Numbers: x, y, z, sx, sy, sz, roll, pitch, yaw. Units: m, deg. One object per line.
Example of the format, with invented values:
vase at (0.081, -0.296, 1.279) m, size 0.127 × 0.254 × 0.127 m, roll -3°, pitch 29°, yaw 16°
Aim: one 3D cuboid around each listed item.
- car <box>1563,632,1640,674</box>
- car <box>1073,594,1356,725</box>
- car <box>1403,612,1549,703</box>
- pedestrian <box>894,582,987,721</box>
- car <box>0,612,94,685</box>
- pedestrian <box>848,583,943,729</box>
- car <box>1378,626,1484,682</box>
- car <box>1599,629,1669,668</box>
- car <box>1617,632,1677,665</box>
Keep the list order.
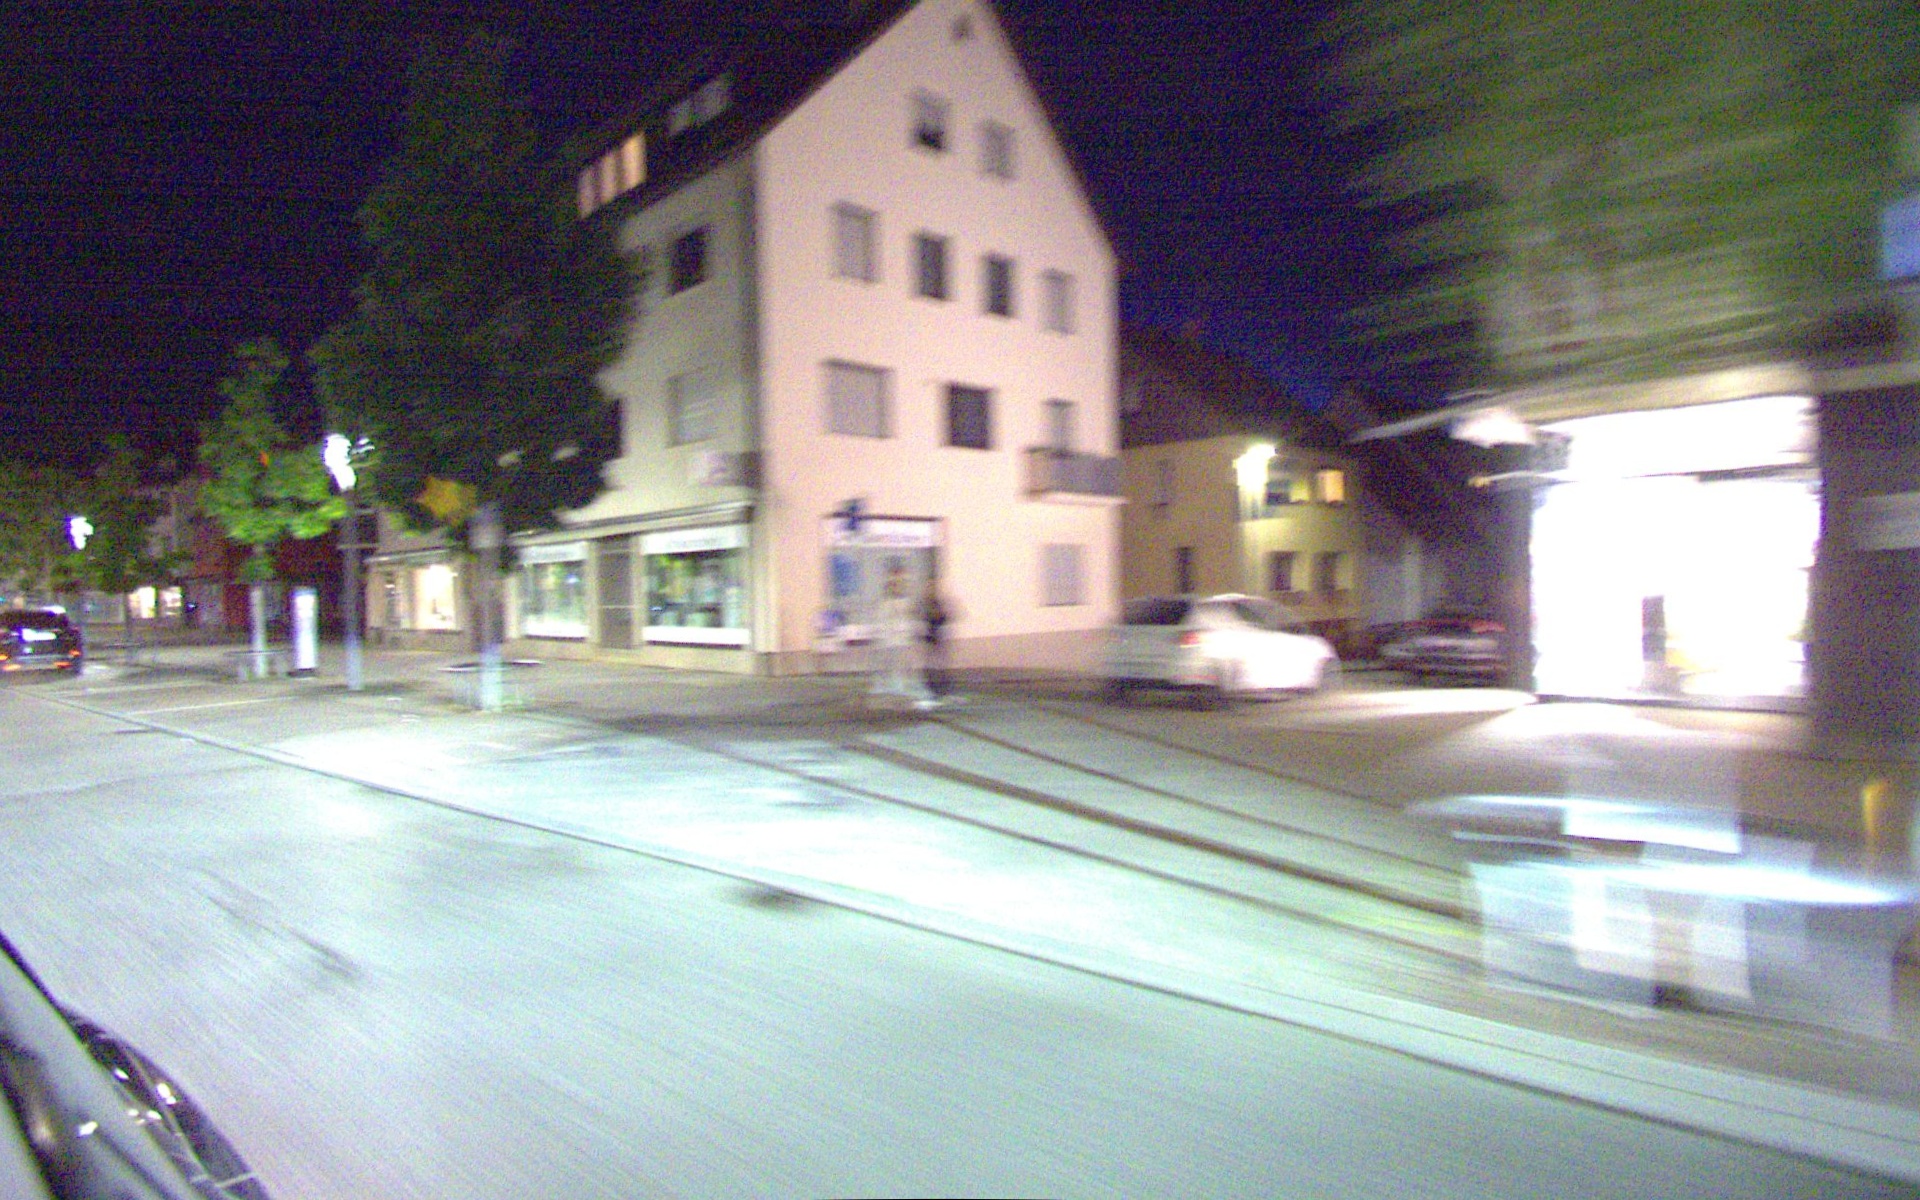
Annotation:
car at (25.586, 2.095, 40.298) m, size 1.897 × 1.531 × 4.121 m, roll 1°, pitch -2°, yaw 43°
car at (3.490, 0.762, 13.396) m, size 1.841 × 1.449 × 4.120 m, roll -1°, pitch -3°, yaw 44°
car at (10.795, 1.149, 21.020) m, size 1.988 × 1.635 × 4.128 m, roll 1°, pitch -2°, yaw 37°
pedestrian at (-0.250, 0.632, 12.737) m, size 0.816 × 1.669 × 0.761 m, roll -4°, pitch -2°, yaw 42°
car at (-24.695, 1.220, 26.741) m, size 5.000 × 1.703 × 1.997 m, roll -1°, pitch 1°, yaw 41°
pedestrian at (-0.778, 0.658, 12.174) m, size 0.781 × 1.669 × 0.761 m, roll -4°, pitch -2°, yaw 42°
car at (14.340, 1.609, 30.693) m, size 1.895 × 1.531 × 4.124 m, roll 1°, pitch -2°, yaw 40°
car at (29.171, 2.084, 43.746) m, size 1.897 × 1.531 × 4.121 m, roll 1°, pitch -2°, yaw 43°
car at (34.686, 2.428, 51.047) m, size 1.897 × 1.531 × 4.121 m, roll 1°, pitch -2°, yaw 43°
